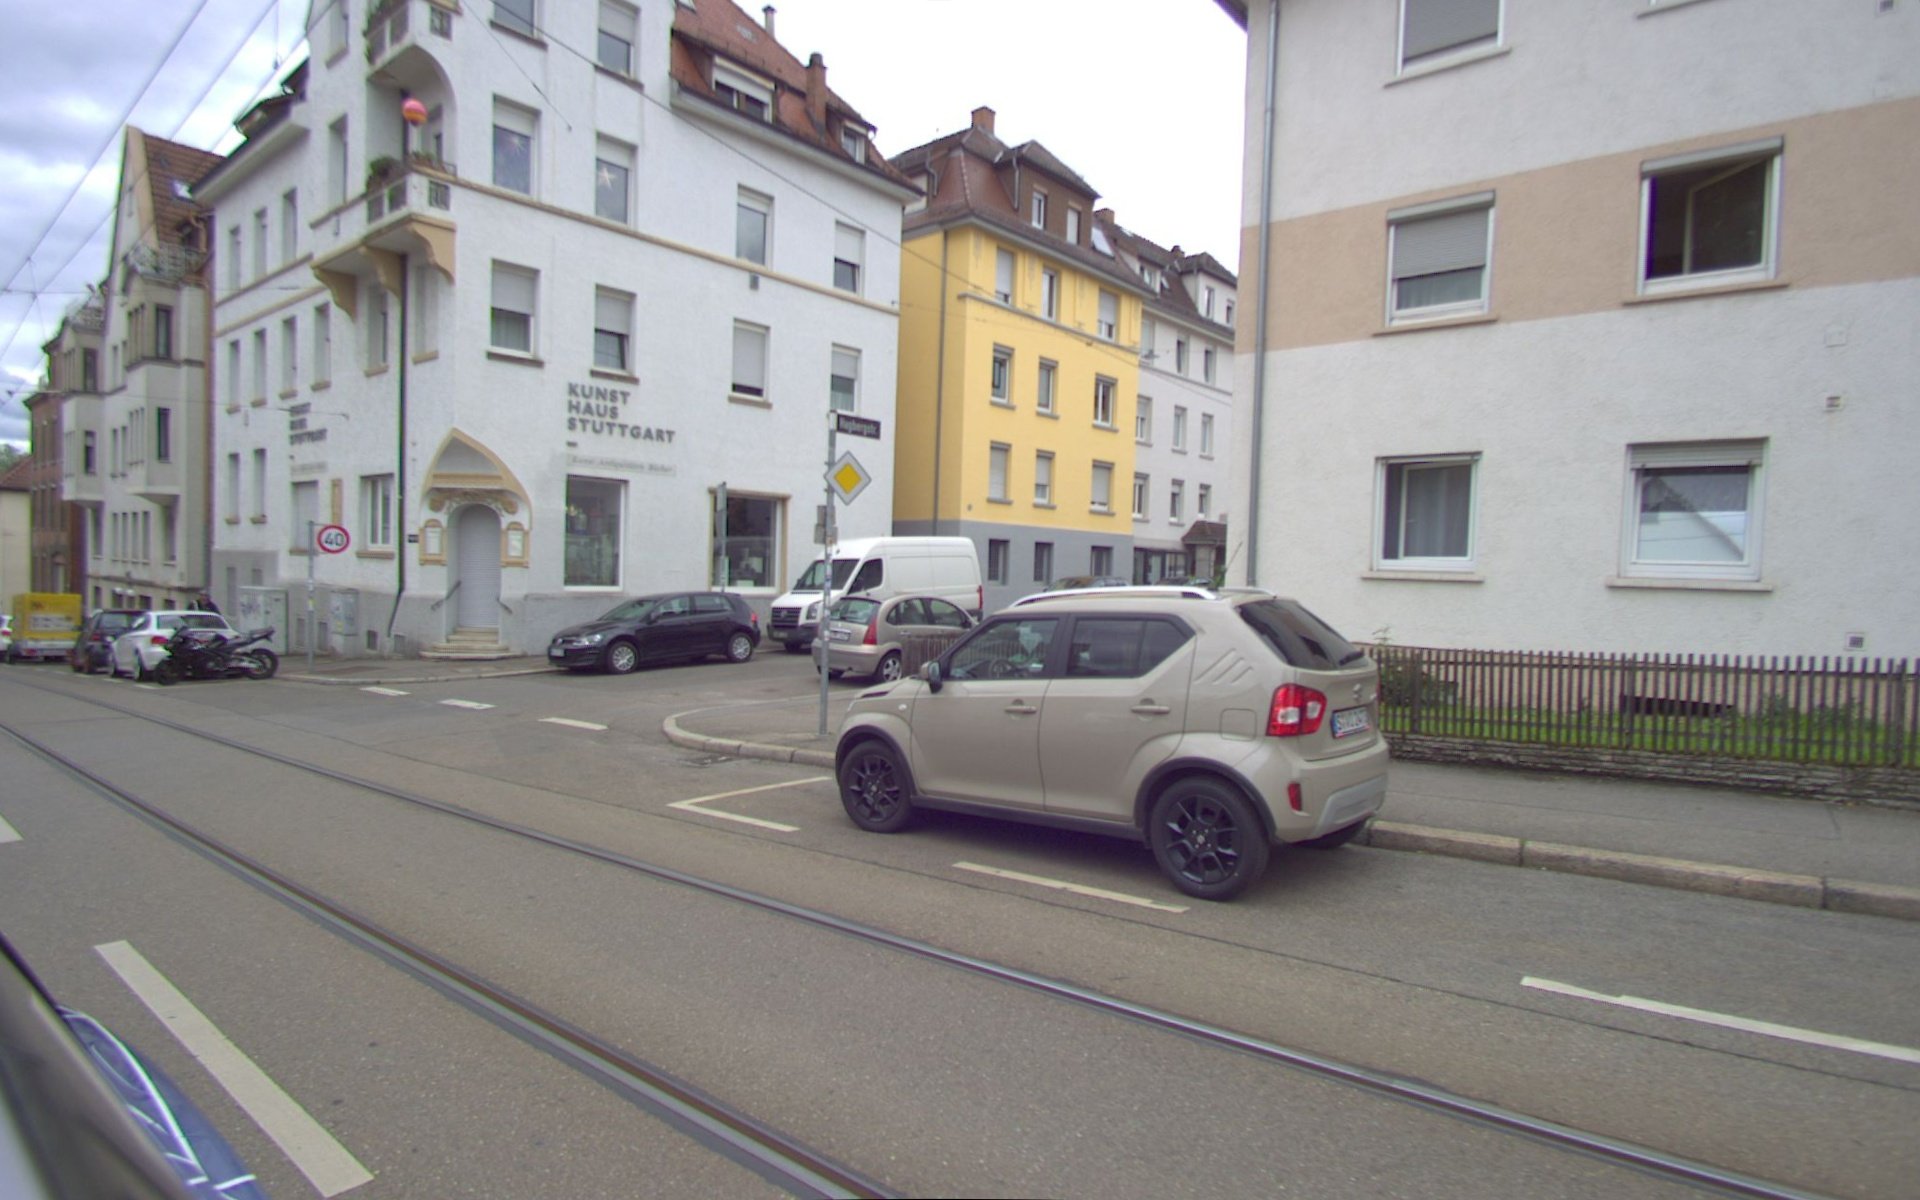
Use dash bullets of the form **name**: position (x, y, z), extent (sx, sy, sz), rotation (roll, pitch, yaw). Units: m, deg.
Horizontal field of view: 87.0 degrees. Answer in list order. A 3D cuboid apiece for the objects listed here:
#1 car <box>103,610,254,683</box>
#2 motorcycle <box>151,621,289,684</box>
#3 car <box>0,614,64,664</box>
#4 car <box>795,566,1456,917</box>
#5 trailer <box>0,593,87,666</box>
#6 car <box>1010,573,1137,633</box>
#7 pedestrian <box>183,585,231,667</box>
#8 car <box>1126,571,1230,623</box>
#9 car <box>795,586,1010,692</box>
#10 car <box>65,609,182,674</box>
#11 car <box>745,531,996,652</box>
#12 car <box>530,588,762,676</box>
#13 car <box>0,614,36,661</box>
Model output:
- **car**: position (-16.496, 0.930, 21.287), extent (4.290, 1.367, 1.761), rotation (-2, -1, 42)
- **motorcycle**: position (-14.121, 0.987, 19.374), extent (2.080, 1.143, 0.768), rotation (1, -2, -36)
- **car**: position (-32.134, 1.330, 34.571), extent (4.265, 1.606, 1.679), rotation (-2, -3, 41)
- **car**: position (0.836, 0.661, 6.447), extent (3.848, 1.568, 1.679), rotation (-1, -1, 42)
- **trailer**: position (-29.221, 0.952, 32.080), extent (4.069, 2.172, 1.730), rotation (-2, -3, 41)
- **car**: position (3.433, 0.047, 30.079), extent (1.822, 1.636, 4.057), rotation (-1, 1, 39)
- **pedestrian**: position (-18.316, 0.615, 24.617), extent (0.810, 1.919, 0.583), rotation (-1, 5, 40)
- **car**: position (7.511, -0.132, 34.614), extent (1.822, 1.636, 4.057), rotation (-1, 1, 39)
- **car**: position (-0.919, 0.578, 17.536), extent (1.777, 1.503, 3.478), rotation (5, 5, 40)
- **car**: position (-20.370, 1.005, 24.624), extent (3.021, 1.480, 1.679), rotation (-1, -3, 41)
- **car**: position (-1.949, -0.236, 24.281), extent (2.191, 2.551, 6.127), rotation (-1, 1, 42)
- **car**: position (-5.987, 0.544, 19.627), extent (1.754, 1.475, 3.945), rotation (-1, 1, 42)
- **car**: position (-36.824, 1.437, 38.506), extent (4.888, 1.677, 1.854), rotation (-2, -3, 41)
